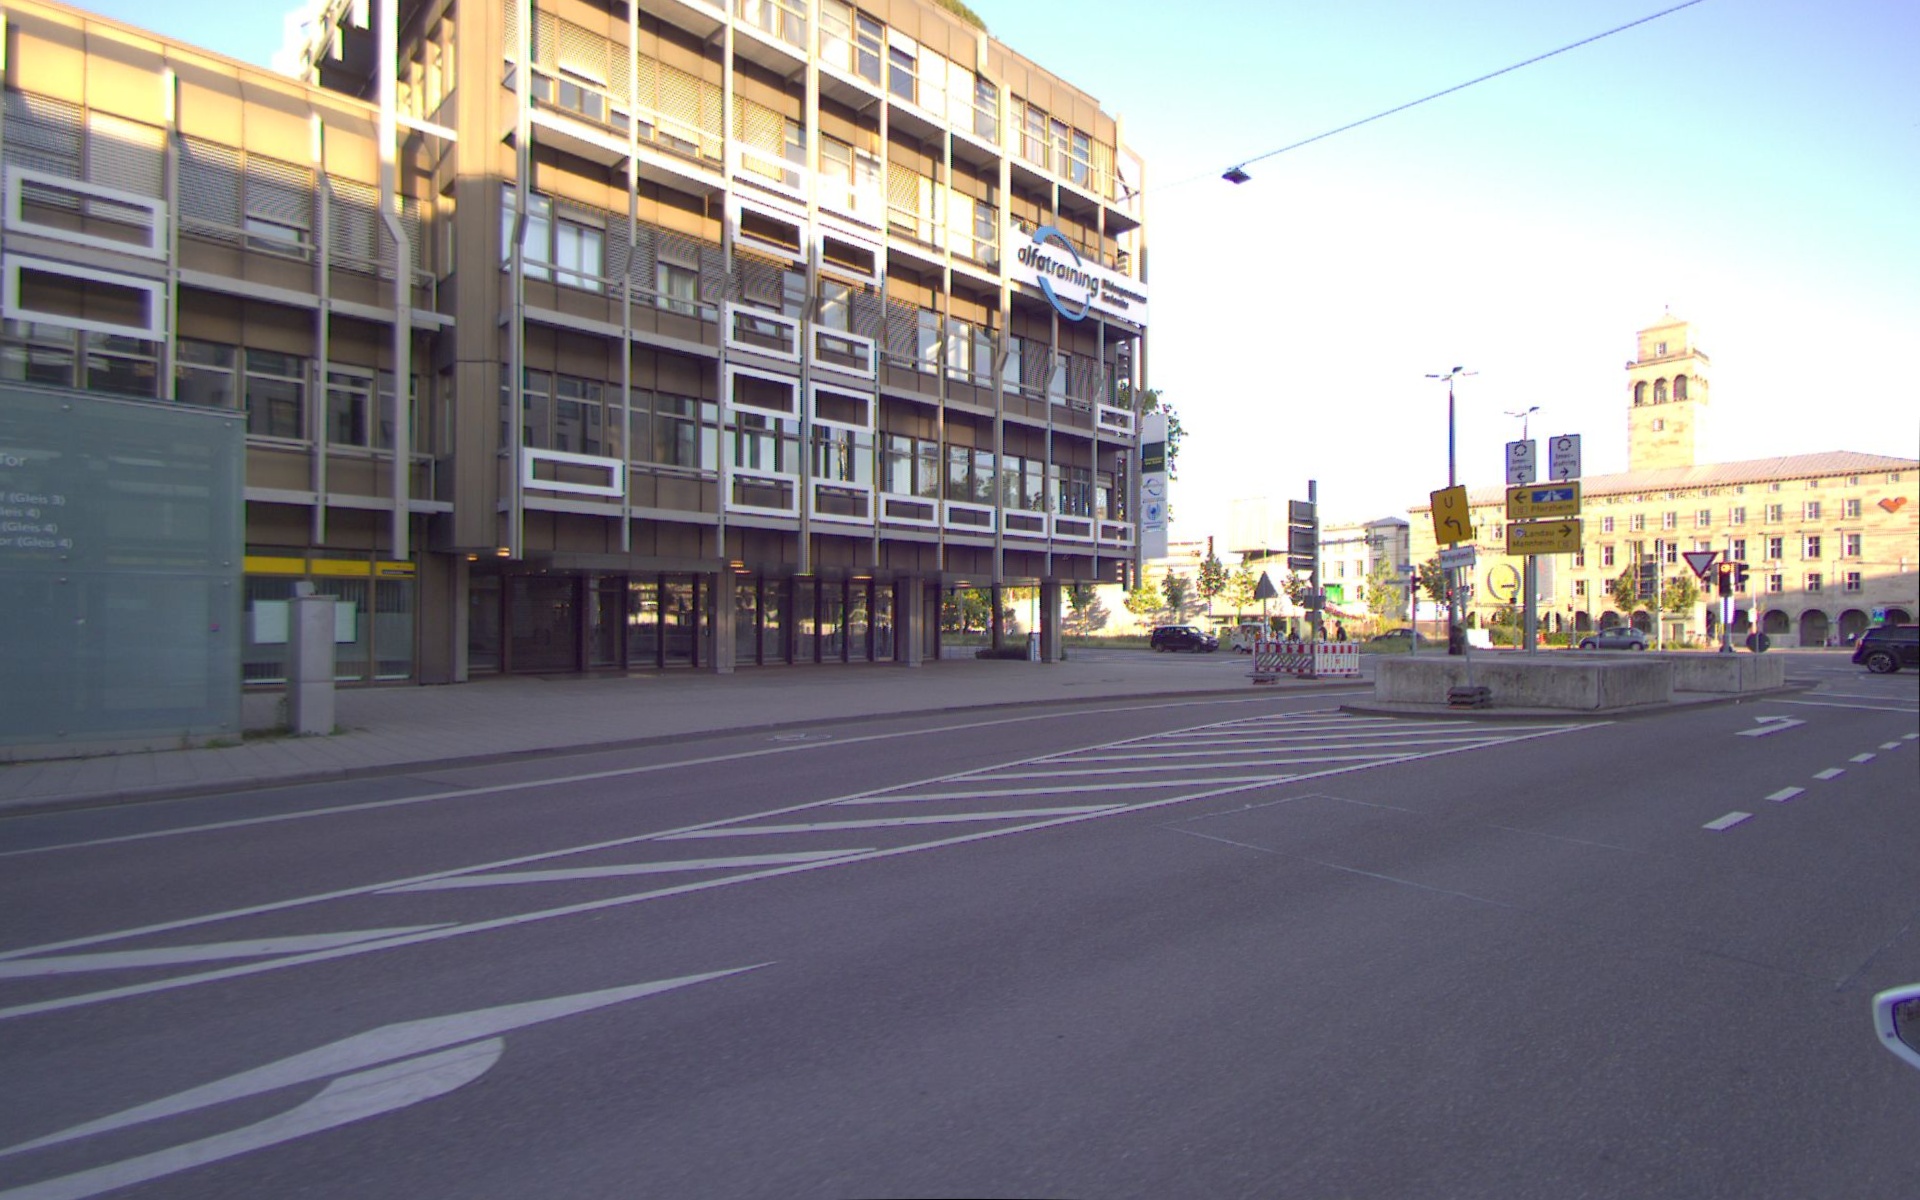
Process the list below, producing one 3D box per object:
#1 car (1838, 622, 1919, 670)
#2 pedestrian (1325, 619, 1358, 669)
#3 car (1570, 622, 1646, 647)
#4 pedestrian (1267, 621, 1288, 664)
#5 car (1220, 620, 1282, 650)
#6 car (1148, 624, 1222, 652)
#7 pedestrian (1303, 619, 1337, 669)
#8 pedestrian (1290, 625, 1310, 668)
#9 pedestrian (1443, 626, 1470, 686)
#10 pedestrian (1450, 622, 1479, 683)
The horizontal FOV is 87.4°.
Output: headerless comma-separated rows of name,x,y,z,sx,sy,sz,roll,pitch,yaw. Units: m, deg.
car,31.289,1.468,32.251,2.111,1.515,4.423,1,-2,-40
pedestrian,14.146,1.625,37.243,0.854,1.800,0.734,0,-3,-32
car,39.815,2.111,61.756,3.675,1.472,1.536,-1,-2,44
pedestrian,13.697,1.835,43.301,0.726,1.800,0.864,-2,-3,13
car,16.707,2.000,57.722,3.091,1.707,1.606,-1,-1,37
car,13.671,2.296,61.068,4.134,1.613,1.687,-1,-2,42
pedestrian,13.227,1.621,36.929,0.854,1.800,0.734,0,-3,-34
pedestrian,14.525,1.997,42.949,0.726,1.800,0.864,-3,-3,17
pedestrian,15.261,1.697,30.852,0.727,1.800,0.862,0,0,27
pedestrian,15.102,1.549,30.085,0.727,1.800,0.863,-1,-1,25
